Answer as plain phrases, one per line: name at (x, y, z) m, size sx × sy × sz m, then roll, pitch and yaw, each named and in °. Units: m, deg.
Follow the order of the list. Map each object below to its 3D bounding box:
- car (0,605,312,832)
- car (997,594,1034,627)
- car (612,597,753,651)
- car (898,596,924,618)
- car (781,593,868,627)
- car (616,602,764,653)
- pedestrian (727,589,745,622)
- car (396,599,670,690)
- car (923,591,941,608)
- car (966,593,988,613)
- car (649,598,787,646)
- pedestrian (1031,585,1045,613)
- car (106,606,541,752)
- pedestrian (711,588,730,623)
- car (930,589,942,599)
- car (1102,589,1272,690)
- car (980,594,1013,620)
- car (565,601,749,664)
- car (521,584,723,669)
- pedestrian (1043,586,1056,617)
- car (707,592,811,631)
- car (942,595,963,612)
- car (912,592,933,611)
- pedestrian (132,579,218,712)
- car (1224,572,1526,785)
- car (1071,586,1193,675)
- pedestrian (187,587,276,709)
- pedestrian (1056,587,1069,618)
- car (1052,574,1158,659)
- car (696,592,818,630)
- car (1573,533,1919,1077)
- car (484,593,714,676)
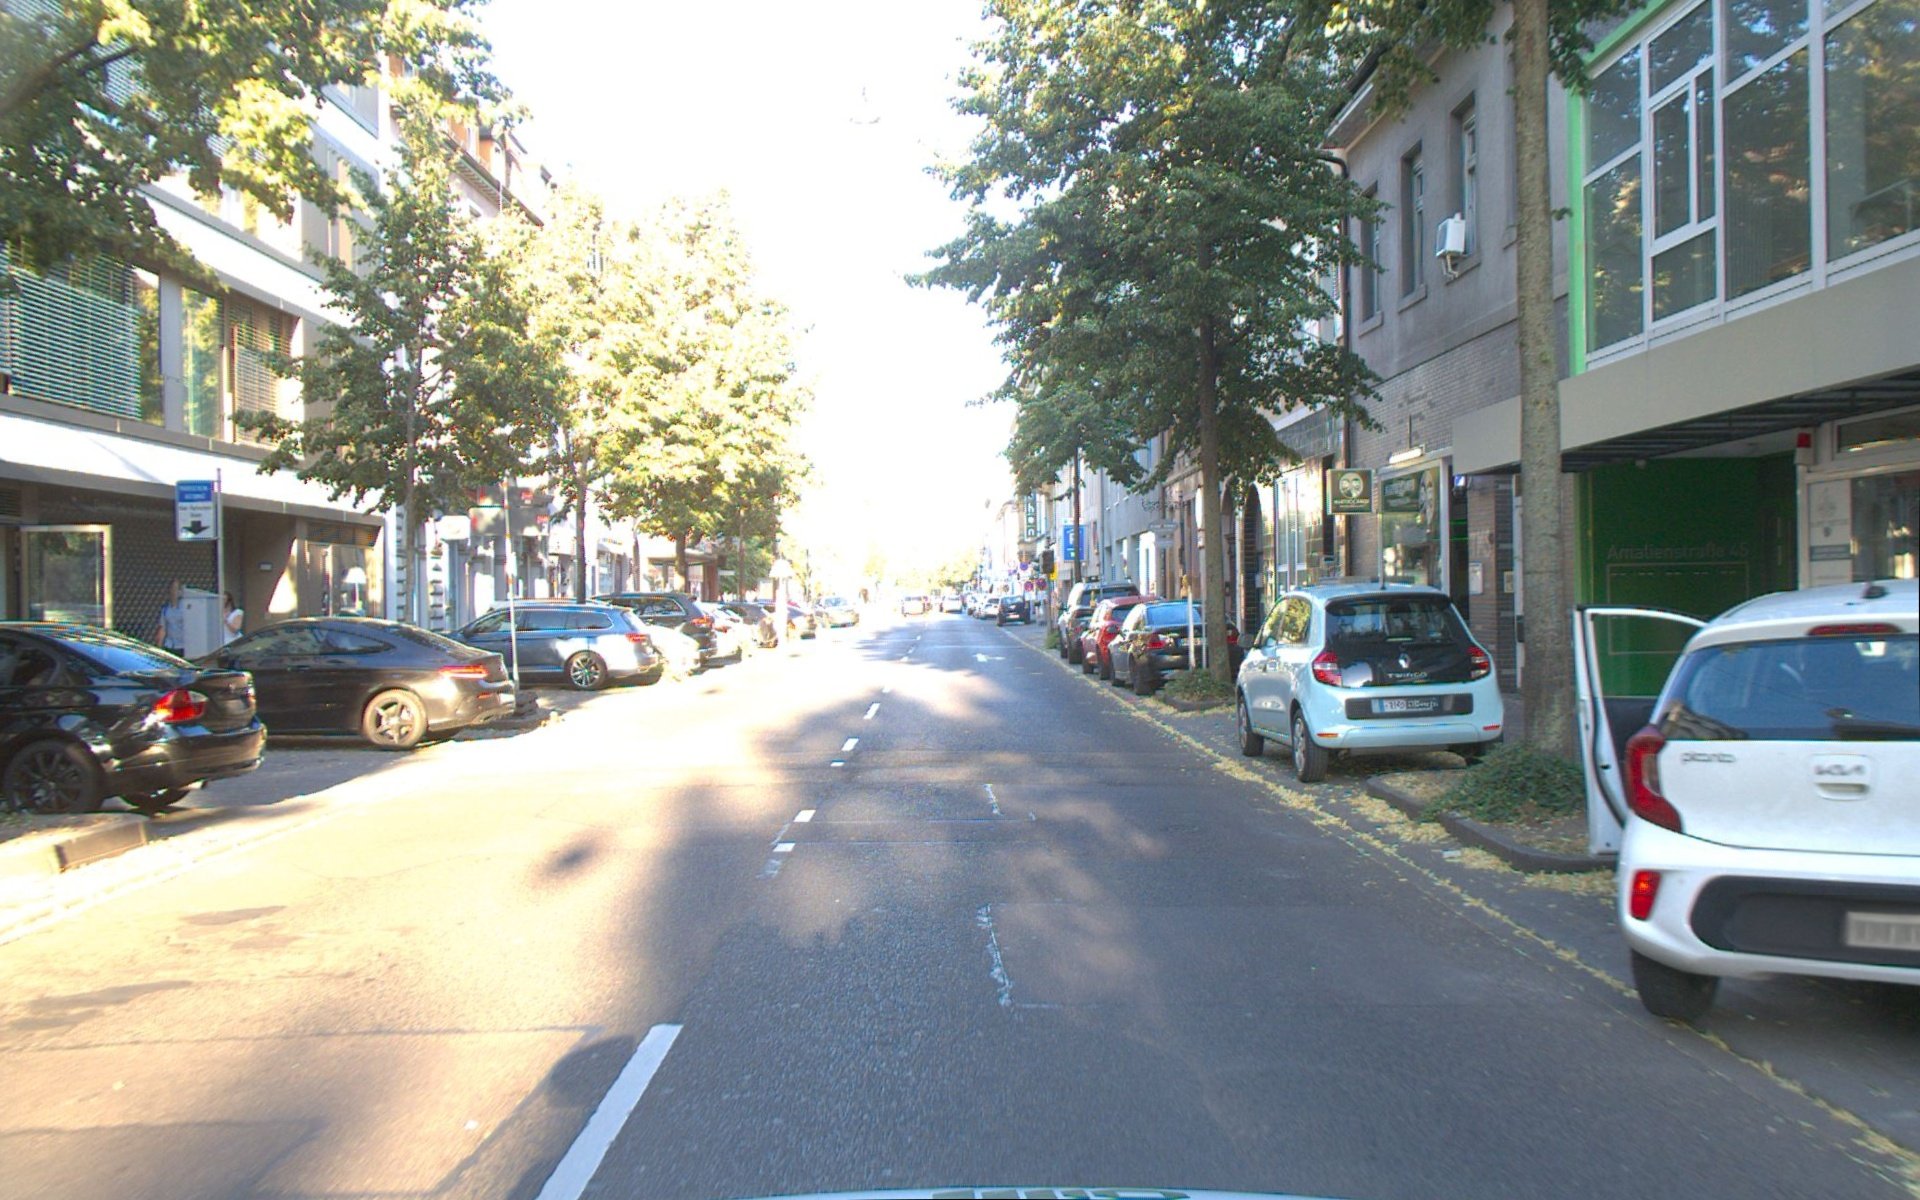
car at (-7.157, 0.820, 12.035) m, size 4.189 × 1.510 × 1.743 m, roll -1°, pitch 0°, yaw -3°
car at (2.863, 0.545, 86.154) m, size 1.723 × 1.563 × 4.000 m, roll -4°, pitch 0°, yaw 0°
car at (-7.676, 0.644, 45.970) m, size 3.664 × 1.469 × 1.805 m, roll 0°, pitch 0°, yaw -3°
car at (-3.691, 0.533, 125.259) m, size 1.858 × 1.678 × 4.103 m, roll -1°, pitch 0°, yaw -1°
car at (-7.233, 0.544, 88.136) m, size 4.368 × 1.721 × 1.862 m, roll -1°, pitch 1°, yaw 34°
car at (-7.902, 0.789, 48.712) m, size 4.013 × 1.428 × 1.843 m, roll -1°, pitch 0°, yaw 1°
pedestrian at (-10.588, 0.268, 78.250) m, size 0.719 × 1.555 × 0.875 m, roll 0°, pitch -2°, yaw 0°
car at (-7.500, 0.762, 29.415) m, size 4.458 × 1.510 × 1.743 m, roll -1°, pitch 0°, yaw -5°
car at (-2.812, -0.080, 166.064) m, size 1.858 × 1.609 × 3.851 m, roll -1°, pitch 0°, yaw -1°
car at (1.433, 0.259, 138.835) m, size 1.694 × 1.679 × 4.283 m, roll 1°, pitch 0°, yaw -1°
car at (-7.405, 0.664, 50.891) m, size 4.024 × 1.428 × 1.883 m, roll 0°, pitch 0°, yaw -3°
pedestrian at (5.082, -0.077, 107.473) m, size 0.757 × 1.741 × 1.042 m, roll -3°, pitch 0°, yaw -1°
car at (-7.022, 0.847, 18.550) m, size 4.187 × 1.510 × 1.744 m, roll -1°, pitch 0°, yaw -1°
pedestrian at (-11.317, 0.251, 78.064) m, size 0.756 × 1.636 × 0.875 m, roll 0°, pitch -2°, yaw 0°
car at (-3.814, -0.947, 262.003) m, size 1.743 × 1.574 × 3.999 m, roll -1°, pitch 0°, yaw -1°
car at (3.625, 0.596, 27.228) m, size 1.913 × 1.414 × 4.422 m, roll -3°, pitch 0°, yaw -3°
car at (2.299, 0.444, 104.926) m, size 1.724 × 1.563 × 4.819 m, roll 1°, pitch -1°, yaw -3°
car at (-7.103, 0.747, 39.051) m, size 4.066 × 1.446 × 1.766 m, roll 0°, pitch 0°, yaw -3°
car at (-7.319, 0.557, 36.149) m, size 4.066 × 1.804 × 1.889 m, roll 0°, pitch 0°, yaw -3°
pedestrian at (4.760, 0.091, 87.699) m, size 0.592 × 1.627 × 0.773 m, roll -1°, pitch 0°, yaw -2°
car at (-8.074, 0.454, 66.651) m, size 3.989 × 1.563 × 1.884 m, roll 0°, pitch 0°, yaw -1°
car at (-0.728, 0.320, 153.131) m, size 1.858 × 1.609 × 3.999 m, roll 1°, pitch 0°, yaw -1°
car at (-3.345, 0.153, 146.698) m, size 1.858 × 1.678 × 4.103 m, roll -1°, pitch 0°, yaw -1°
pedestrian at (-10.824, 0.619, 22.829) m, size 0.704 × 1.780 × 0.933 m, roll 1°, pitch 0°, yaw 0°
car at (3.506, 0.596, 14.606) m, size 1.657 × 1.570 × 3.552 m, roll -3°, pitch 0°, yaw -1°
car at (3.248, 0.538, 31.921) m, size 1.695 × 1.513 × 3.898 m, roll -3°, pitch 0°, yaw -3°
pedestrian at (-10.048, 0.649, 22.851) m, size 0.704 × 1.630 × 1.094 m, roll 1°, pitch 0°, yaw 0°
pedestrian at (5.433, 0.109, 87.723) m, size 0.592 × 1.627 × 0.773 m, roll -1°, pitch 0°, yaw -2°
car at (3.327, 0.349, 38.688) m, size 1.997 × 1.767 × 4.711 m, roll -3°, pitch 0°, yaw 0°
car at (-7.735, 0.418, 63.371) m, size 4.478 × 1.432 × 1.821 m, roll 0°, pitch 0°, yaw -2°
car at (3.907, 0.546, 6.428) m, size 1.635 × 1.611 × 3.604 m, roll -4°, pitch 1°, yaw 41°
car at (-7.314, 0.684, 33.823) m, size 4.317 × 1.624 × 1.889 m, roll 0°, pitch 1°, yaw -2°
